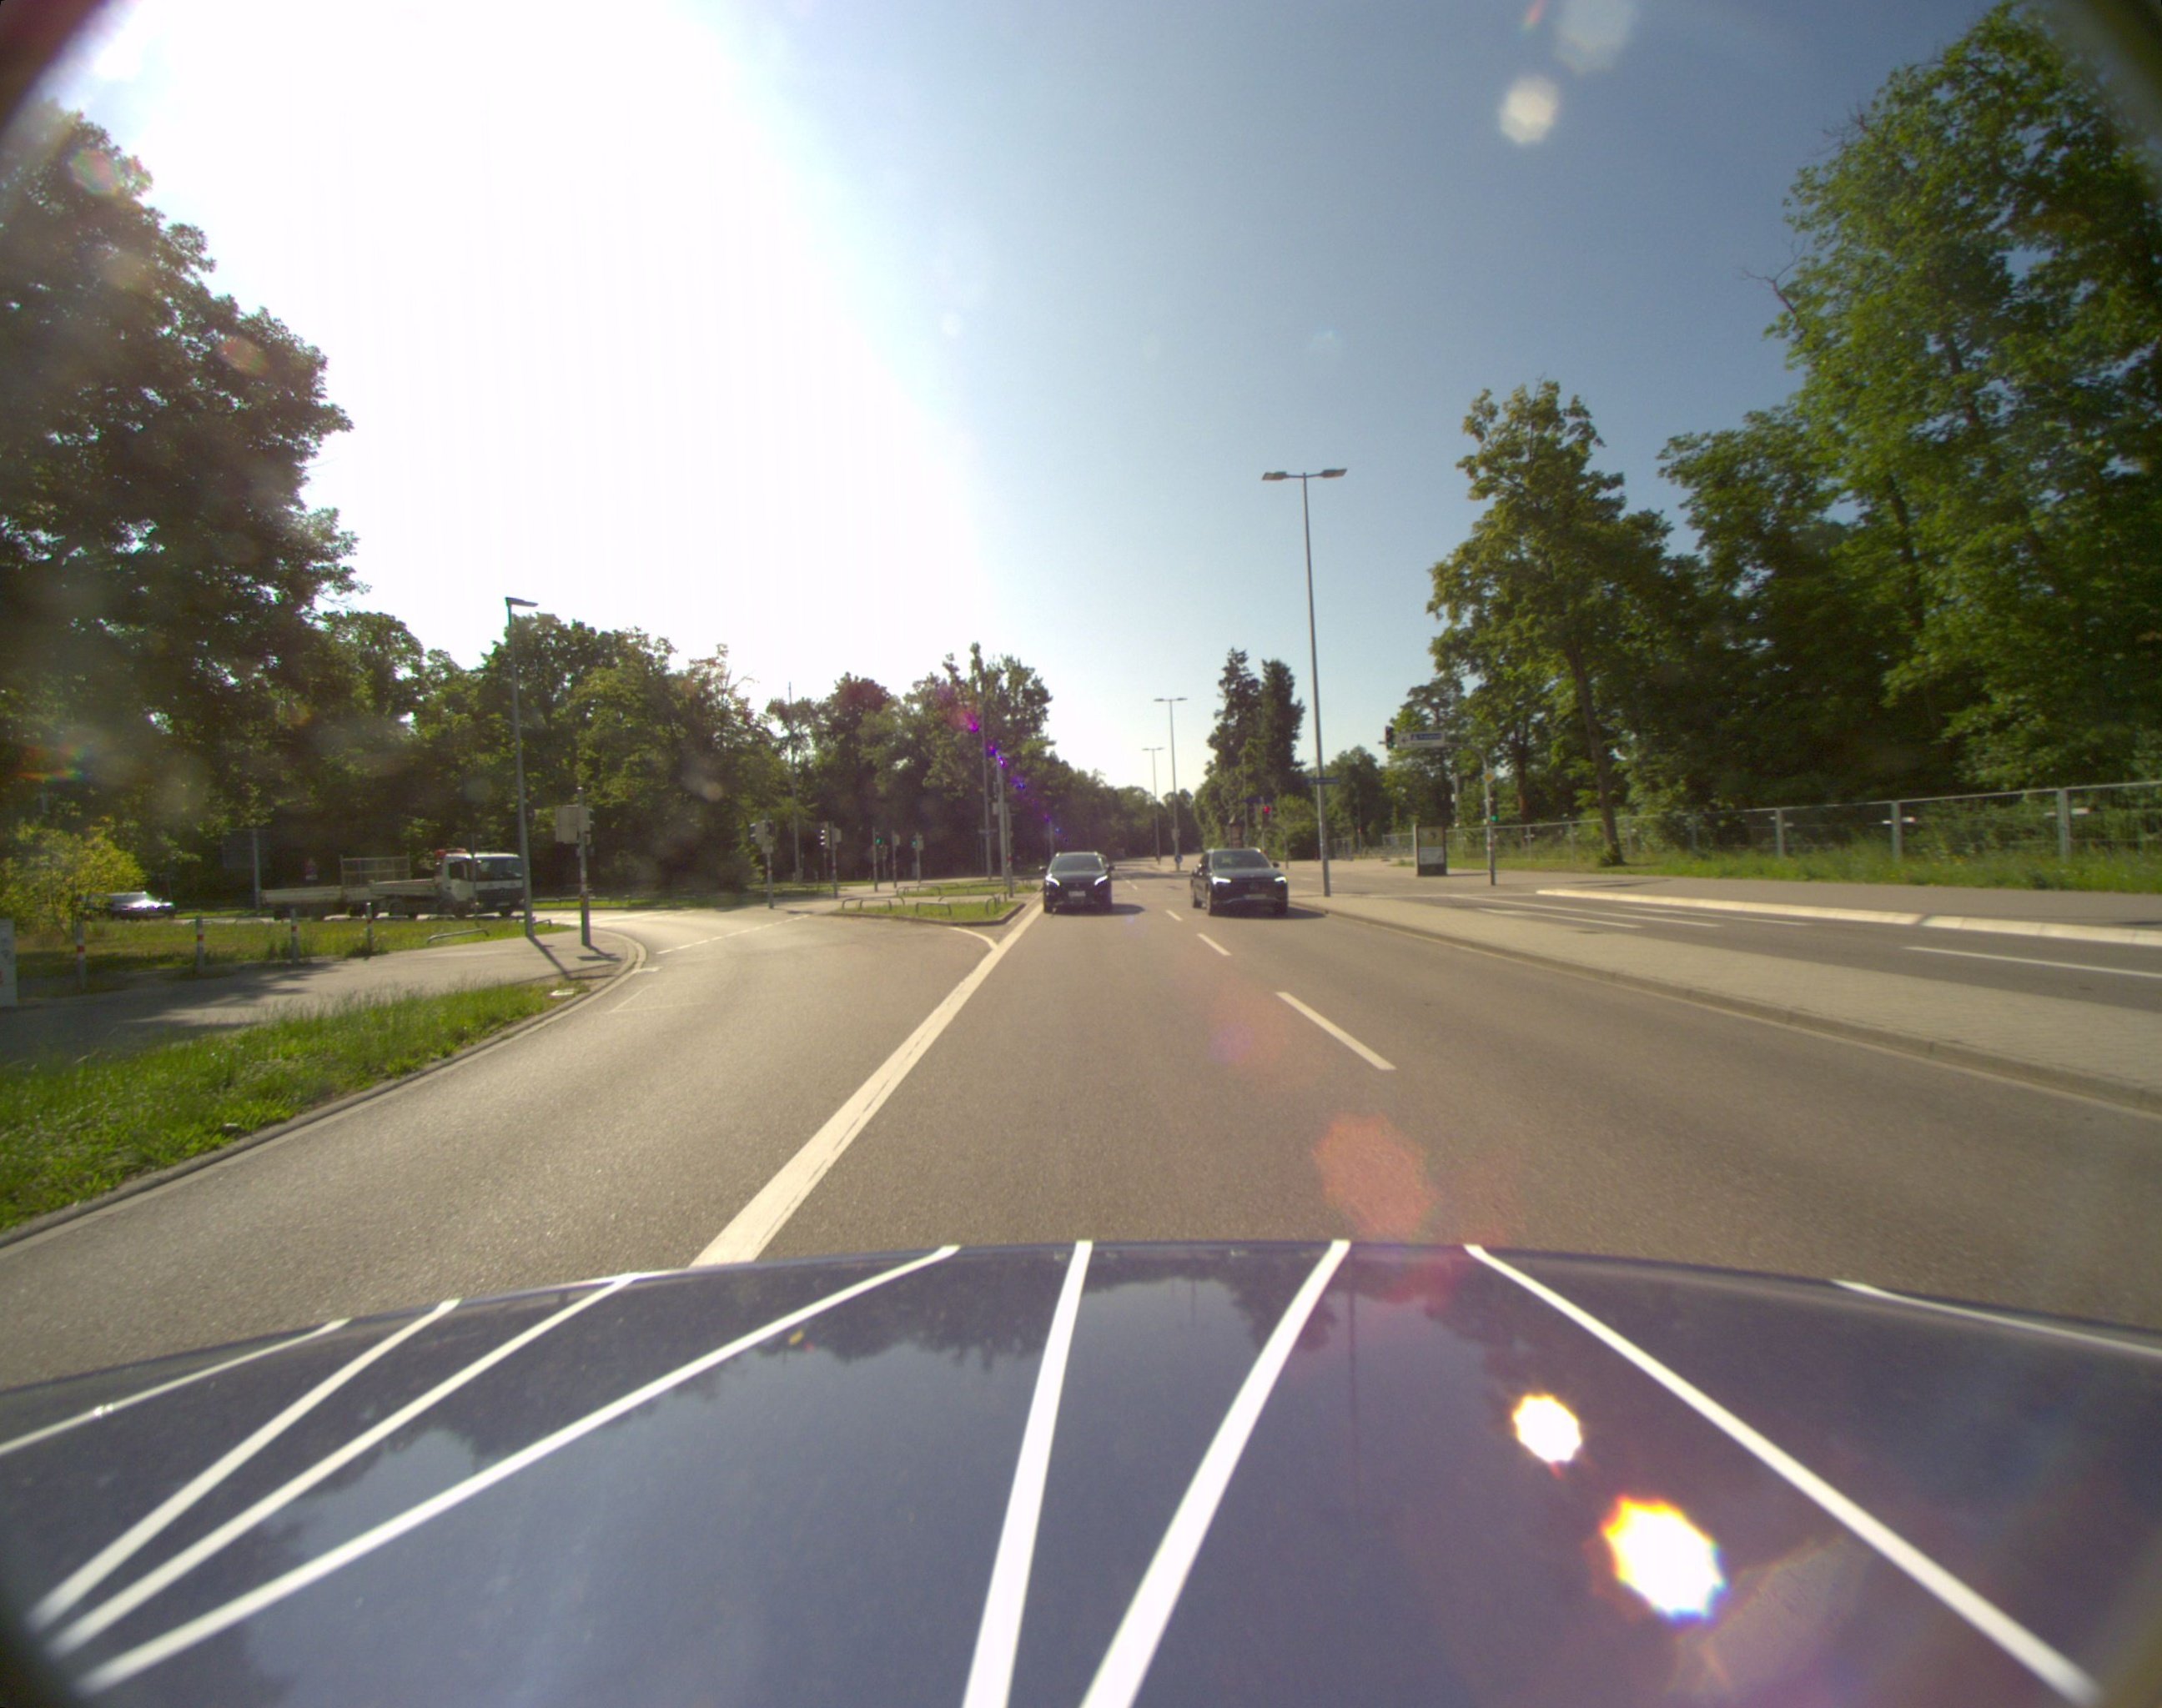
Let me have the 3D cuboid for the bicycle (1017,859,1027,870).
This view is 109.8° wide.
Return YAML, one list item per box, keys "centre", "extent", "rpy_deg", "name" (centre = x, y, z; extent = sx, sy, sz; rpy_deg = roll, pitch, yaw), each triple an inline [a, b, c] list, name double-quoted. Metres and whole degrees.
- centre: [-6.769, 1.185, 87.267]
  extent: [0.725, 1.192, 2.101]
  rpy_deg: [-2, 0, 6]
  name: "bicycle"

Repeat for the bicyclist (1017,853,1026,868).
- centre: [-6.805, 0.733, 87.222]
  extent: [0.725, 1.629, 1.058]
  rpy_deg: [-2, 1, 6]
  name: "bicyclist"

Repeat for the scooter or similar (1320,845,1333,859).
- centre: [22.649, -0.159, 70.054]
  extent: [1.082, 1.215, 0.395]
  rpy_deg: [-3, 1, -22]
  name: "scooter or similar"

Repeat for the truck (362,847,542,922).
- centre: [-25.389, 1.229, 30.697]
  extent: [6.190, 2.702, 2.683]
  rpy_deg: [-3, 1, 20]
  name: "truck"

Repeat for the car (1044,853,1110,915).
- centre: [-0.036, 0.797, 22.609]
  extent: [1.702, 1.581, 4.319]
  rpy_deg: [-2, 0, 2]
  name: "car"

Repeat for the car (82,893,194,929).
- centre: [-45.466, 2.748, 36.663]
  extent: [3.993, 1.475, 1.848]
  rpy_deg: [-2, 1, 15]
  name: "car"

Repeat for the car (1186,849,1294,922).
- centre: [3.856, 0.687, 19.130]
  extent: [1.809, 1.587, 4.272]
  rpy_deg: [-2, 1, 0]
  name: "car"

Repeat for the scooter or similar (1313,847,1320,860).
- centre: [21.774, -0.071, 70.237]
  extent: [0.395, 1.139, 1.197]
  rpy_deg: [-2, 0, 7]
  name: "scooter or similar"

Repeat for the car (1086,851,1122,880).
- centre: [1.302, 0.622, 44.188]
  extent: [1.933, 1.499, 4.000]
  rpy_deg: [-2, 0, 0]
  name: "car"

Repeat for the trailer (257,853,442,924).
- centre: [-31.467, 1.487, 32.718]
  extent: [6.874, 2.672, 2.707]
  rpy_deg: [-3, 1, 18]
  name: "trailer"
